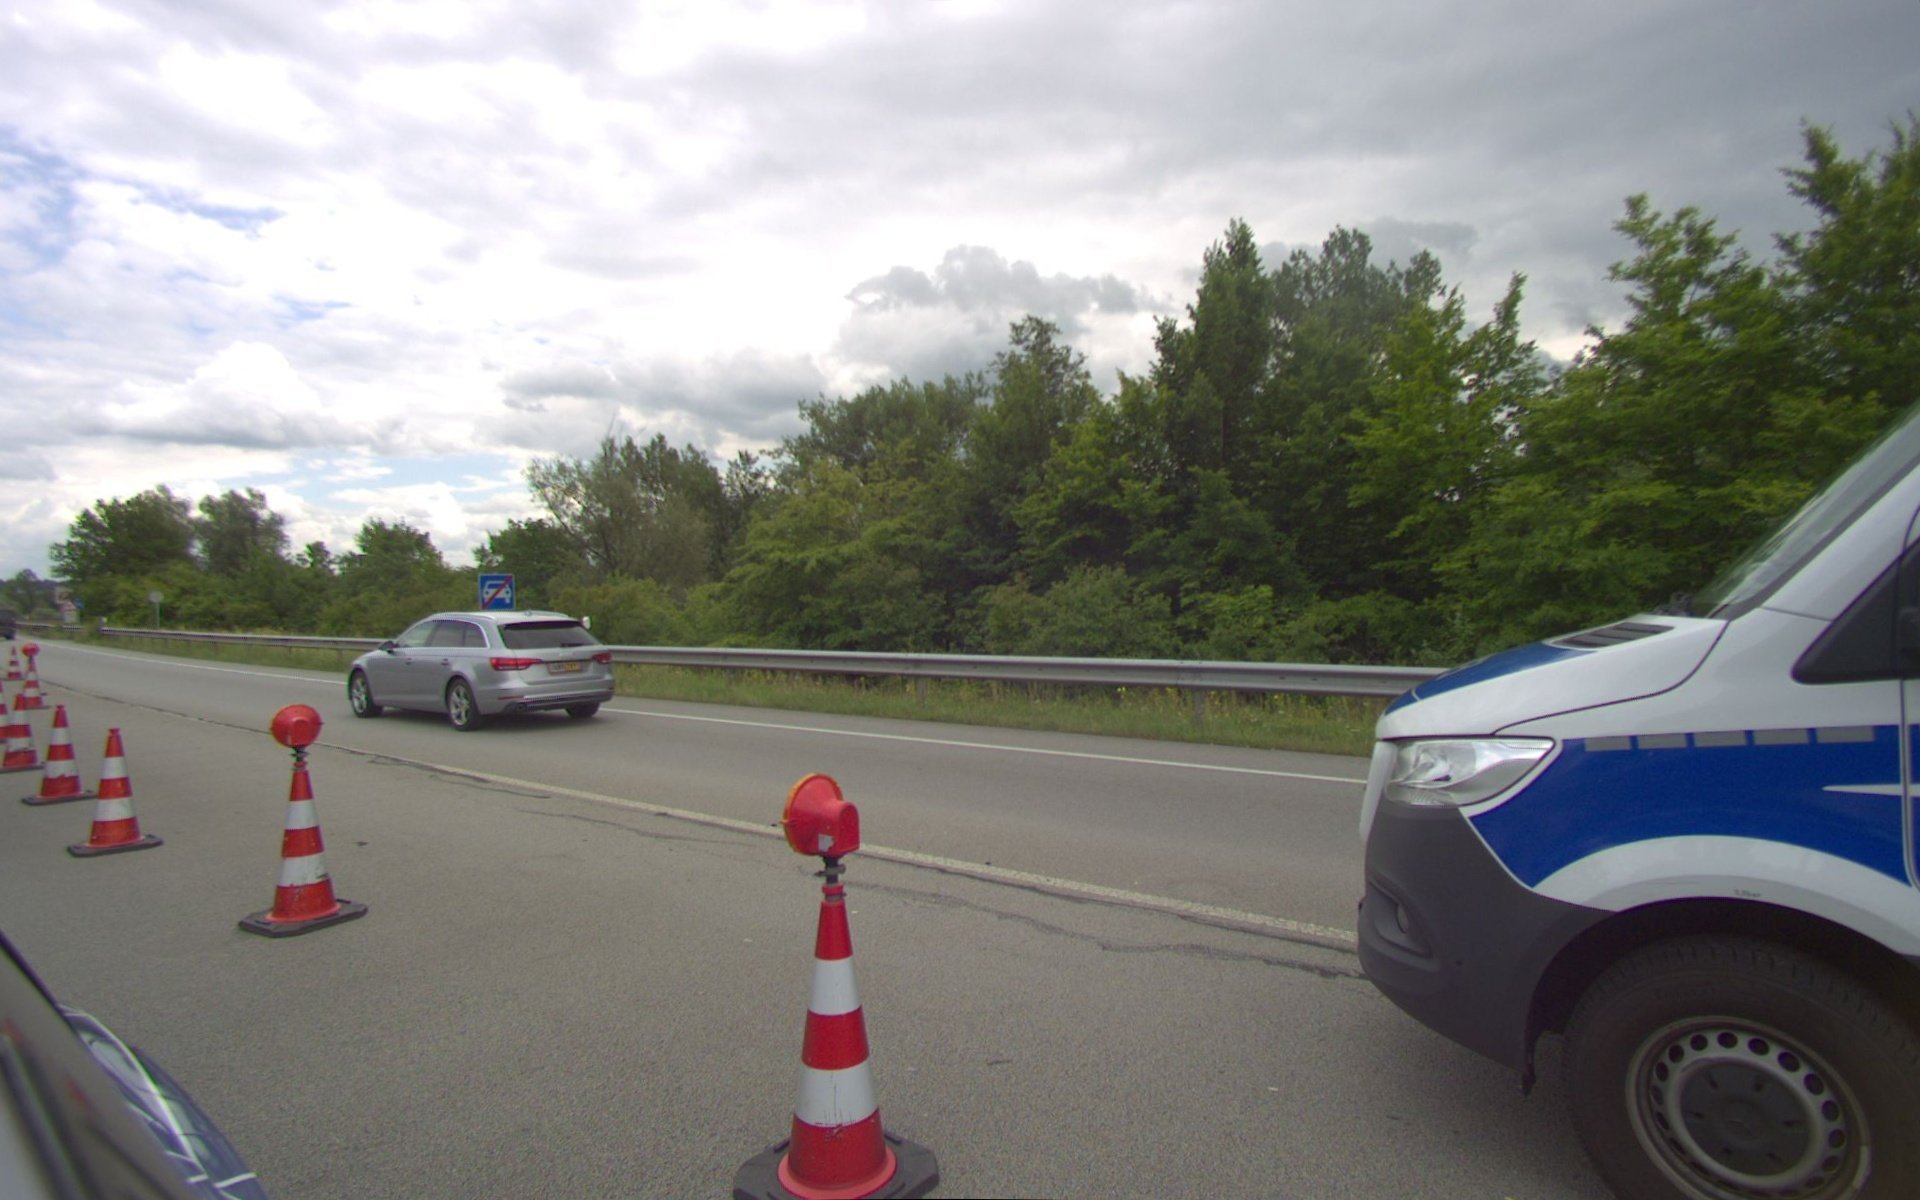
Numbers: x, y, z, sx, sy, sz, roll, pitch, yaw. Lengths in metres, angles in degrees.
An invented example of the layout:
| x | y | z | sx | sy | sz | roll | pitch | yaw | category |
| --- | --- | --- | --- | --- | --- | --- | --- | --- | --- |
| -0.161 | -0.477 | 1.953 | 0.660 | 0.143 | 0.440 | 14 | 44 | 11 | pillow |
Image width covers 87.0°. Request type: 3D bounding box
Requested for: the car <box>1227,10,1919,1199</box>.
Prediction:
| x | y | z | sx | sy | sz | roll | pitch | yaw | category |
| --- | --- | --- | --- | --- | --- | --- | --- | --- | --- |
| 3.410 | 0.129 | 1.866 | 5.271 | 2.482 | 2.010 | -1 | -1 | 38 | car |

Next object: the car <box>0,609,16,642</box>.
| x | y | z | sx | sy | sz | roll | pitch | yaw | category |
| --- | --- | --- | --- | --- | --- | --- | --- | --- | --- |
| -59.350 | 1.561 | 61.910 | 5.316 | 2.002 | 2.007 | -1 | -1 | 43 | car |

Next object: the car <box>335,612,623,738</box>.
| x | y | z | sx | sy | sz | roll | pitch | yaw | category |
| --- | --- | --- | --- | --- | --- | --- | --- | --- | --- |
| -6.476 | 0.887 | 13.417 | 4.367 | 1.412 | 1.663 | -1 | -1 | 38 | car |
